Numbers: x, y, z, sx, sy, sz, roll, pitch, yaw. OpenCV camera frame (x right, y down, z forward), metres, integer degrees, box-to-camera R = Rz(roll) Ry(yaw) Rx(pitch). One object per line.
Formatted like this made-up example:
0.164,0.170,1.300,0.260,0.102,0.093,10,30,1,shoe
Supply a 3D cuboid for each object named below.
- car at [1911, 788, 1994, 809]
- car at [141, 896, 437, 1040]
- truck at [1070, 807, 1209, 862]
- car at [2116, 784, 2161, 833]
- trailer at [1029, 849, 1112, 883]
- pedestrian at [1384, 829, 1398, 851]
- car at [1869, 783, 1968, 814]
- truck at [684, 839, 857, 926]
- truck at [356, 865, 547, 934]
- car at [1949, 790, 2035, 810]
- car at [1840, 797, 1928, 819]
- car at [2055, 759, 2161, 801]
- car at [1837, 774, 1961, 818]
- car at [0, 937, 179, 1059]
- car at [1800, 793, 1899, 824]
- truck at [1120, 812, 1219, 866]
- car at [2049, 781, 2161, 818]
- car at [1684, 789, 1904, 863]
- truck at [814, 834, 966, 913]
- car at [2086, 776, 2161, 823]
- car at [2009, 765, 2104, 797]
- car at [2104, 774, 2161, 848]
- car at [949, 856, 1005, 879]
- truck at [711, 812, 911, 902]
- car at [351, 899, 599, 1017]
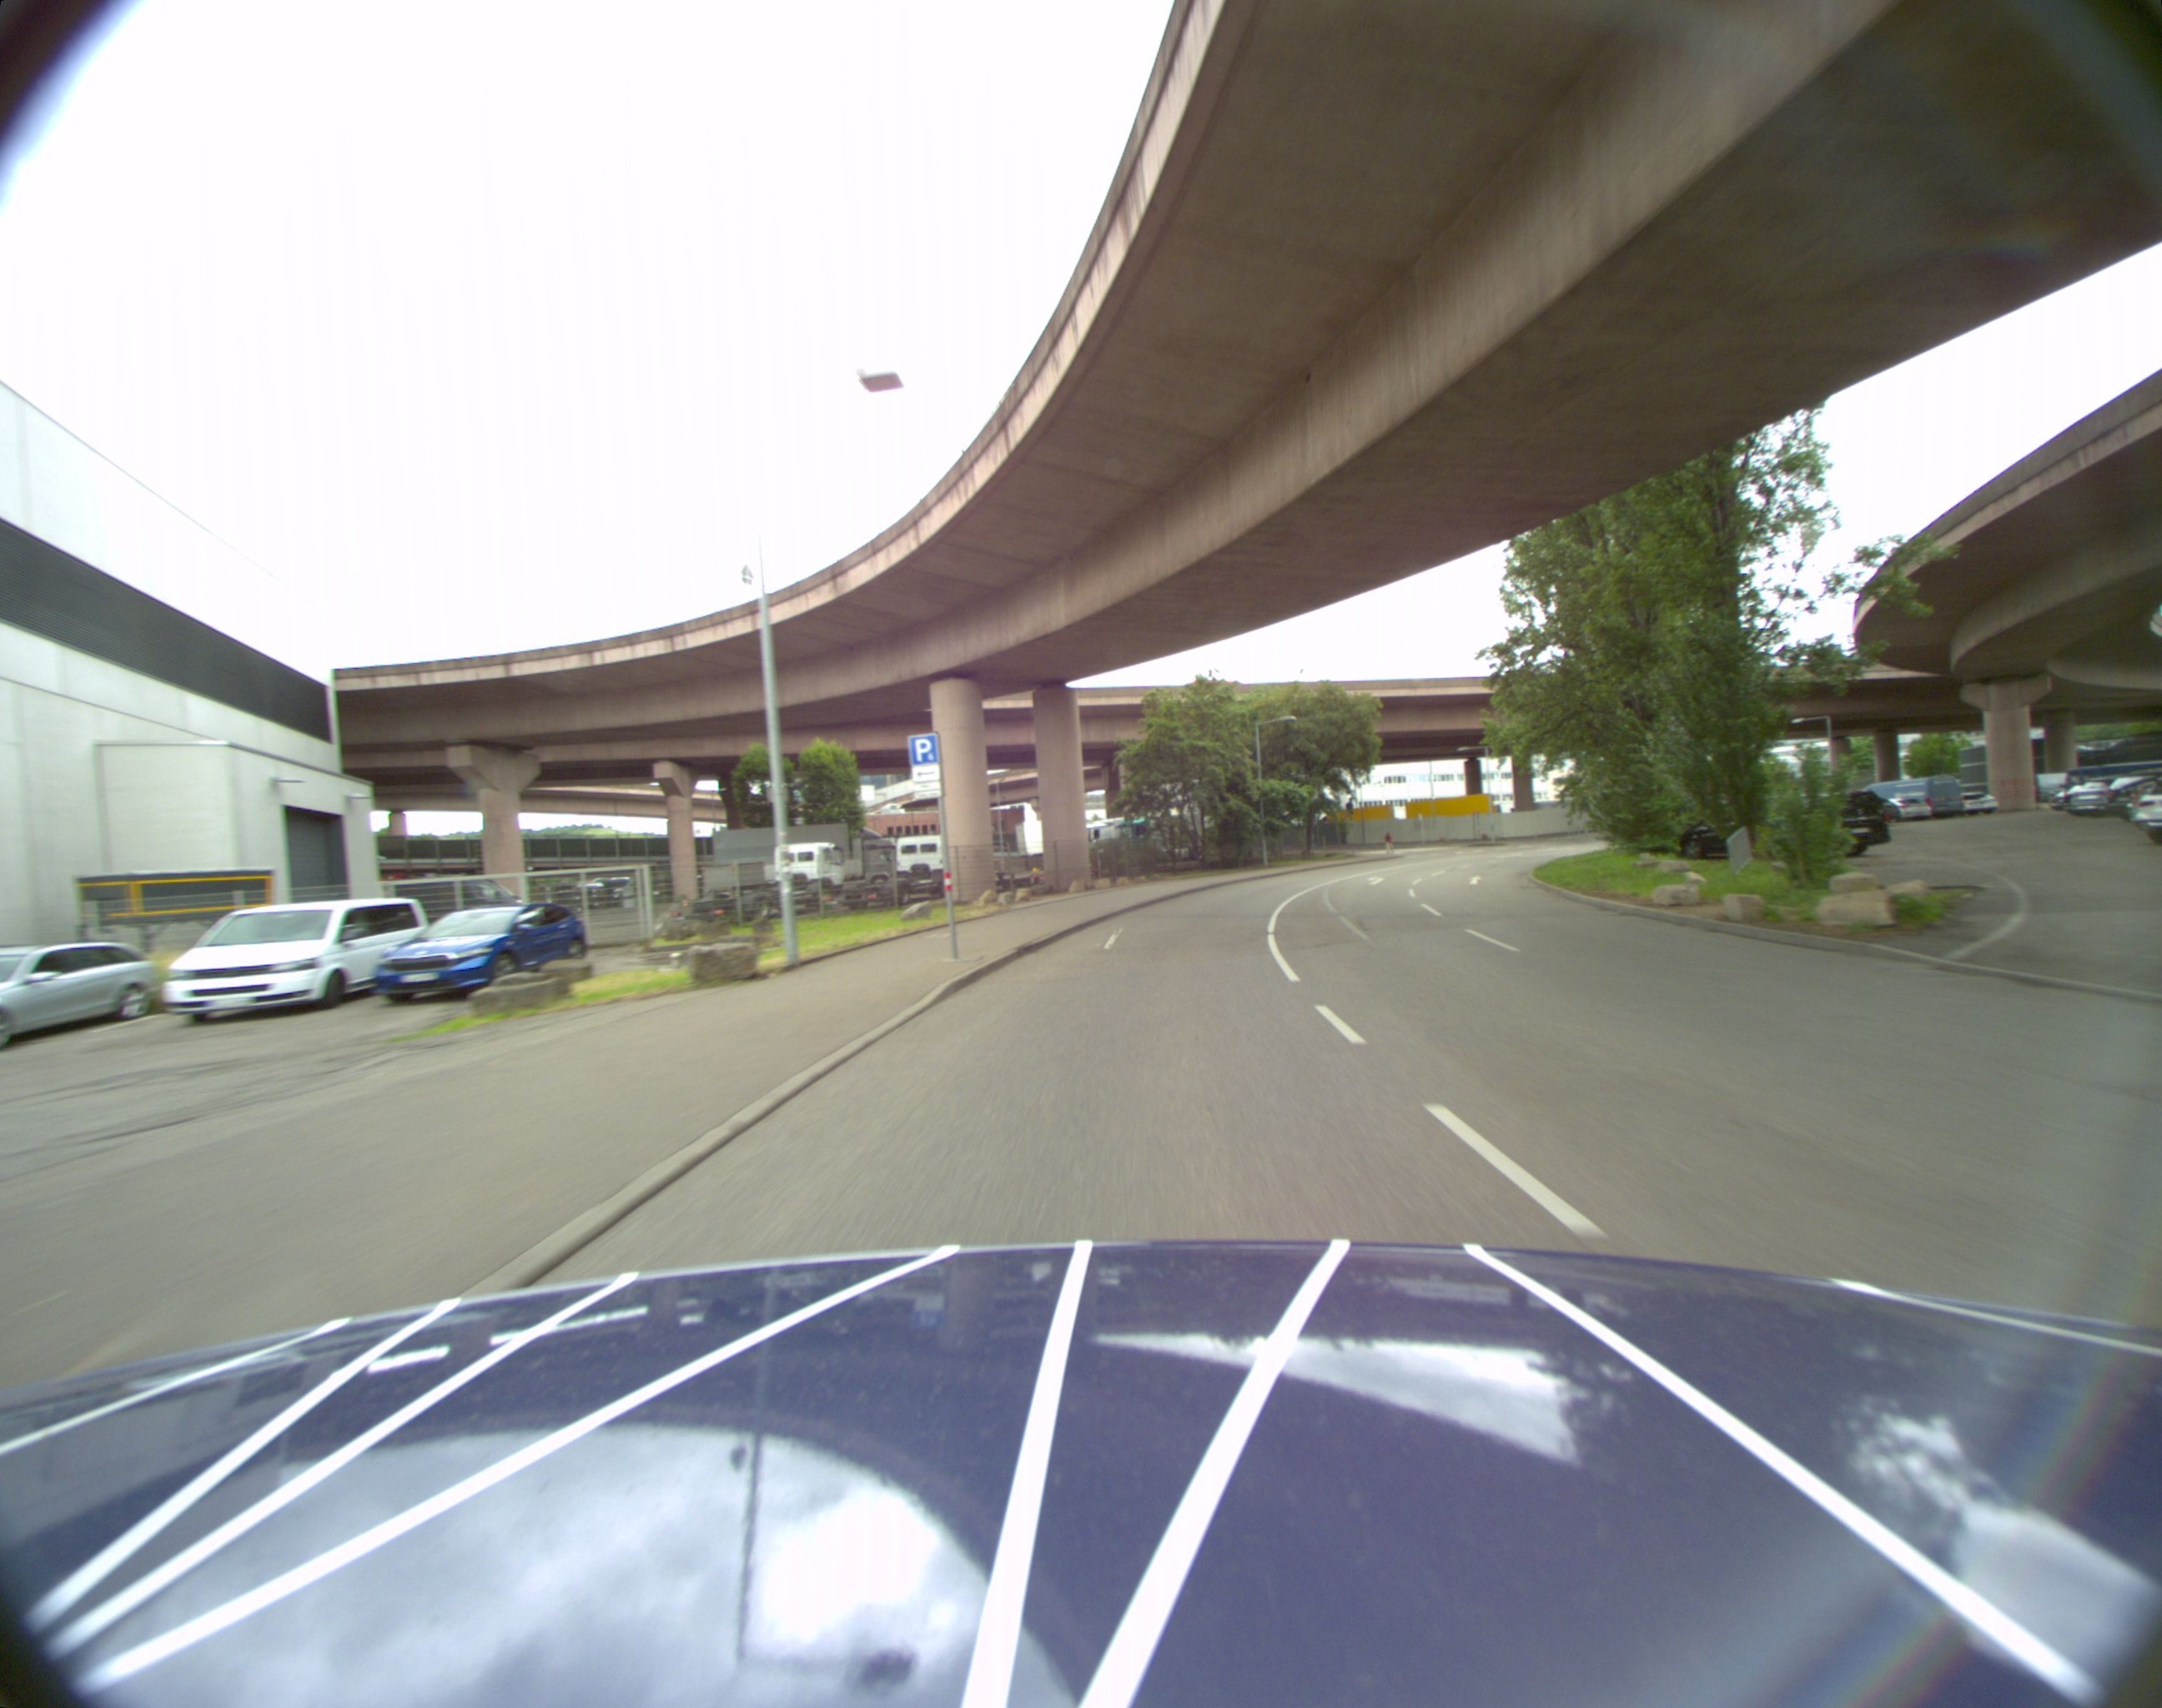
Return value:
57.696,-3.640,50.384,1.355,1.227,3.626,-2,3,1,car
-14.479,1.910,14.357,1.895,1.945,4.673,-4,0,-20,car
4.423,-1.463,55.576,10.227,3.478,2.266,-4,2,-26,truck
32.767,-1.423,21.950,3.419,1.381,1.375,-4,2,9,car
-0.436,0.550,37.191,1.601,1.324,4.390,-2,2,38,trailer
24.527,-1.144,60.128,0.752,1.671,0.856,-2,2,41,pedestrian
54.784,-3.586,49.833,1.633,1.846,4.491,-2,3,2,car
-11.761,0.970,29.469,2.453,2.869,6.127,-4,0,22,truck
-32.633,2.281,39.816,6.937,2.915,3.045,-4,0,-23,truck
59.969,-3.548,50.109,1.355,1.227,3.626,-2,3,1,car
48.878,-2.799,46.335,1.356,1.227,3.625,-2,3,-5,car
51.064,-3.645,37.349,3.535,1.789,1.644,-3,2,23,car
51.722,-3.589,48.289,1.827,2.567,5.685,-2,3,2,car
-16.793,2.278,11.735,1.777,1.448,4.546,-4,0,-23,car
41.251,-2.403,40.902,1.356,1.556,3.624,-2,3,-8,car
6.169,-1.058,52.844,6.418,3.389,2.266,-4,2,-23,truck
41.356,-2.182,30.663,2.976,1.228,1.397,-4,1,-4,car
21.514,-0.819,23.303,1.856,1.906,4.971,-4,1,-3,car
-7.381,0.630,30.666,2.420,2.728,7.243,-4,0,17,truck
36.867,-1.913,26.028,2.975,1.478,1.319,-4,2,3,car
88.805,-6.632,69.249,5.683,2.572,2.301,-2,3,-1,car
27.016,-1.121,17.689,4.060,1.697,1.735,-4,1,0,car
-9.336,1.219,68.458,4.873,1.696,2.094,-4,0,-7,car
-15.402,0.083,43.499,10.147,4.340,3.906,-4,0,-27,truck
-11.704,1.883,15.185,1.776,1.625,4.681,-3,0,-10,car
